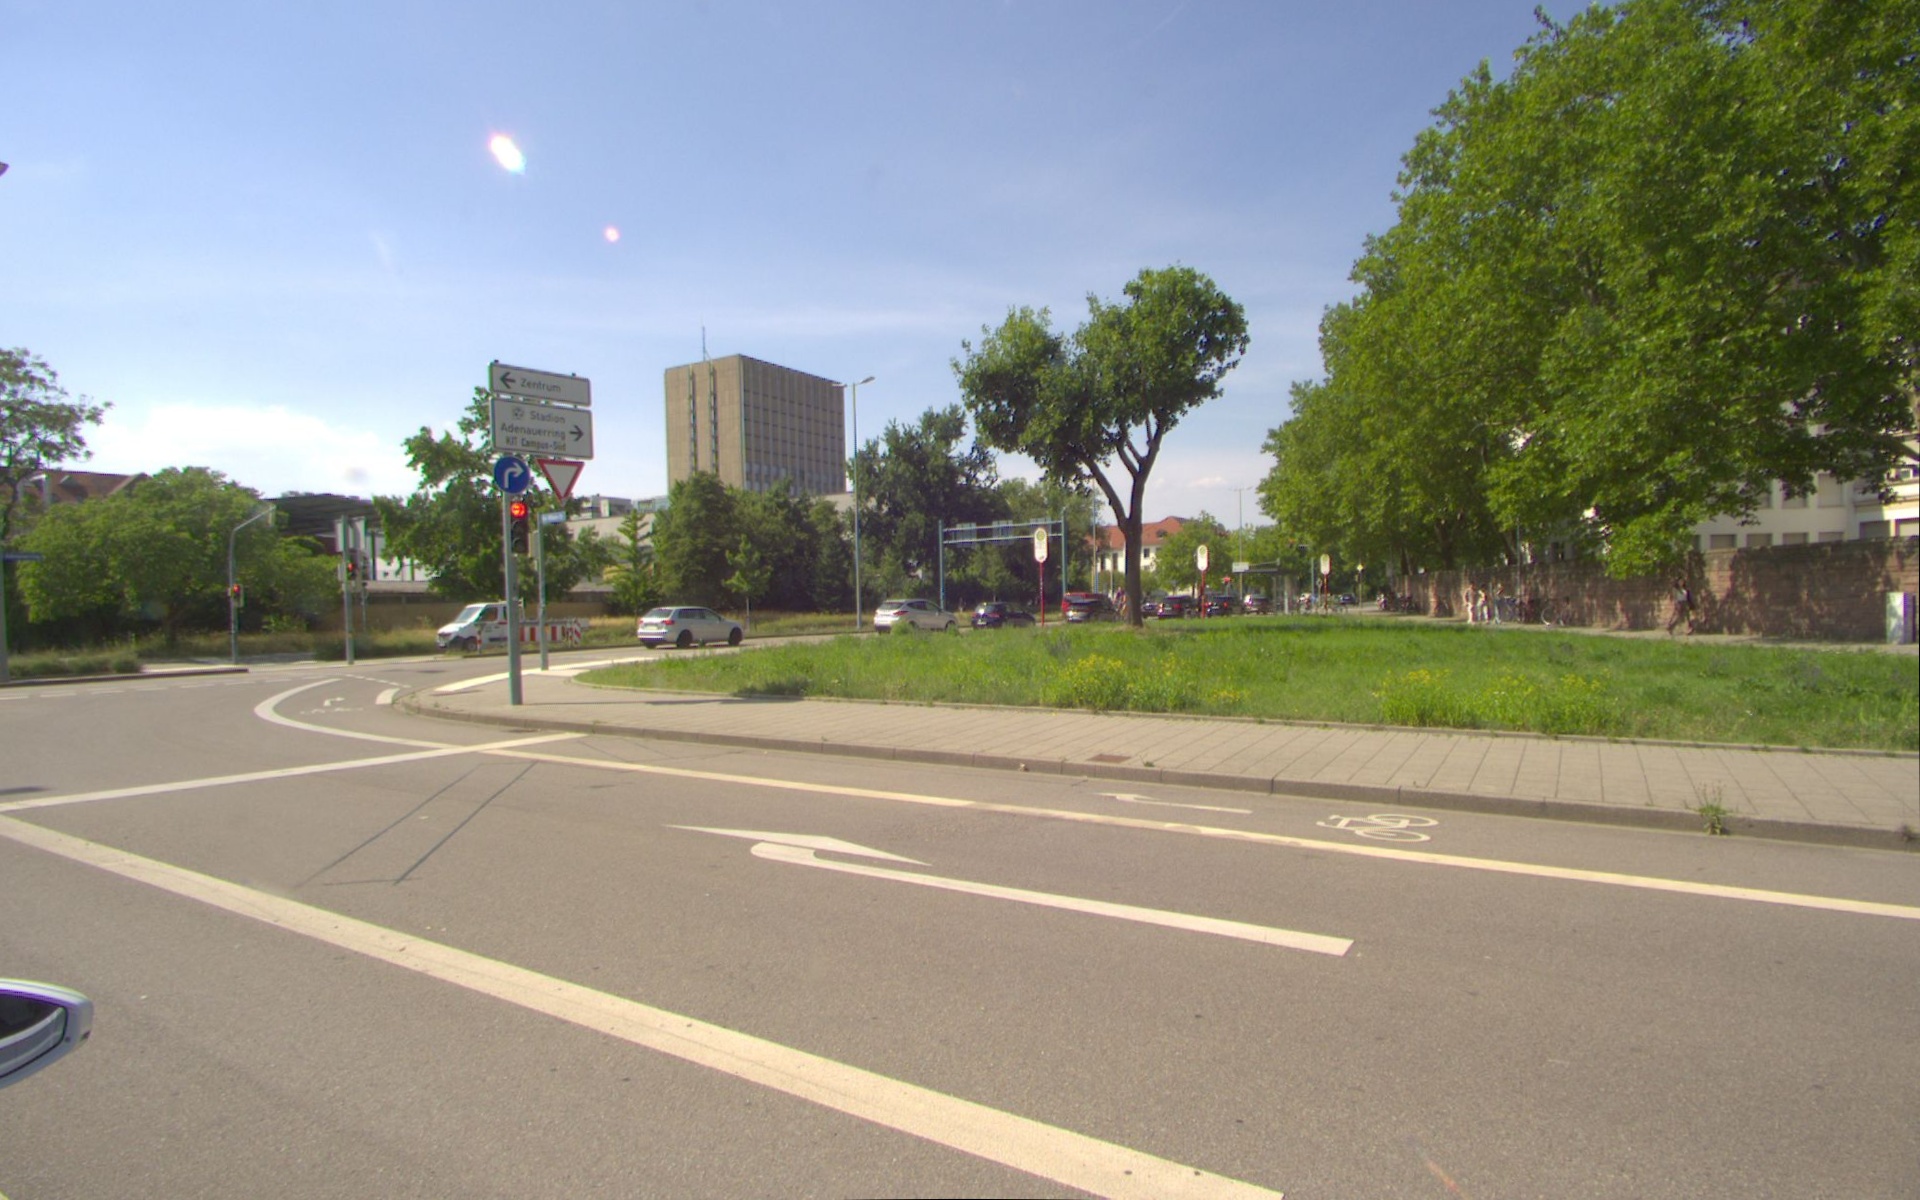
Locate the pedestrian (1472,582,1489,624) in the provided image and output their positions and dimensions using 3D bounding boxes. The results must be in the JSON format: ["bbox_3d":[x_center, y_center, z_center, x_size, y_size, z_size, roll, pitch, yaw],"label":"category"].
[{"bbox_3d":[20.299,0.106,39.033,0.515,1.599,0.701,-1,1,23],"label":"pedestrian"}]

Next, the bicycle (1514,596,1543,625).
[{"bbox_3d":[21.826,0.395,38.454,0.439,1.047,1.447,-1,1,6],"label":"bicycle"}]

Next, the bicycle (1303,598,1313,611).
[{"bbox_3d":[29.699,0.367,85.350,0.552,1.066,1.318,-1,1,30],"label":"bicycle"}]

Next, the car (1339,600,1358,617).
[{"bbox_3d":[49.332,1.068,127.044,1.968,2.039,3.987,-1,-2,26],"label":"car"}]

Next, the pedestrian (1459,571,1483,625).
[{"bbox_3d":[19.469,-0.082,38.165,0.513,2.040,0.596,-2,1,-9],"label":"pedestrian"}]

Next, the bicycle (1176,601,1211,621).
[{"bbox_3d":[15.187,0.725,65.075,0.838,1.233,3.462,-1,-2,37],"label":"bicycle"}]

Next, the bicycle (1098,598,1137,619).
[{"bbox_3d":[7.206,0.397,45.789,1.912,0.899,0.679,-2,1,-42],"label":"bicycle"}]

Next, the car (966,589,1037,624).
[{"bbox_3d":[2.107,0.307,49.848,1.564,1.612,3.972,-1,1,37],"label":"car"}]

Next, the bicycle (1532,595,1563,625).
[{"bbox_3d":[21.601,0.364,36.835,0.439,1.047,1.447,-1,1,6],"label":"bicycle"}]

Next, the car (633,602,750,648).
[{"bbox_3d":[-9.286,0.832,34.952,1.559,1.439,4.155,-1,1,27],"label":"car"}]

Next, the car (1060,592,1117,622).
[{"bbox_3d":[8.343,0.440,64.791,1.950,1.821,4.587,-1,1,31],"label":"car"}]

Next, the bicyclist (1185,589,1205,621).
[{"bbox_3d":[15.302,0.327,65.248,0.769,2.039,1.265,-1,-2,38],"label":"bicyclist"}]

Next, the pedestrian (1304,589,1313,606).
[{"bbox_3d":[29.680,-0.234,85.331,0.552,1.458,0.729,0,1,30],"label":"pedestrian"}]

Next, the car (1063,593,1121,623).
[{"bbox_3d":[7.704,0.466,58.127,1.564,1.612,3.972,-1,1,37],"label":"car"}]

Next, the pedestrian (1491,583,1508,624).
[{"bbox_3d":[20.943,0.132,38.882,0.515,1.599,0.701,-1,1,23],"label":"pedestrian"}]

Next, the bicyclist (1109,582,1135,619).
[{"bbox_3d":[7.402,0.026,45.770,1.068,1.659,0.486,-1,1,29],"label":"bicyclist"}]

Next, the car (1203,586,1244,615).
[{"bbox_3d":[19.764,0.003,75.093,1.970,2.041,3.980,-1,1,30],"label":"car"}]

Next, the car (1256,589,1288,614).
[{"bbox_3d":[27.495,0.175,88.160,1.970,2.039,3.984,-1,-2,29],"label":"car"}]

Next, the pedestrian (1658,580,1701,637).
[{"bbox_3d":[20.229,0.236,28.163,0.493,1.569,0.913,-1,1,-4],"label":"pedestrian"}]

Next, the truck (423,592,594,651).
[{"bbox_3d":[-20.786,0.936,46.541,2.380,2.386,7.007,-3,0,33],"label":"truck"}]

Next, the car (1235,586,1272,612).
[{"bbox_3d":[24.120,-0.060,82.272,1.970,2.041,3.980,-1,1,30],"label":"car"}]

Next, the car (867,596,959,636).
[{"bbox_3d":[-2.032,0.677,44.578,1.691,1.640,4.183,-1,1,40],"label":"car"}]

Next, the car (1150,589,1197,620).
[{"bbox_3d":[14.611,0.295,68.331,1.970,2.041,3.980,-1,1,30],"label":"car"}]
